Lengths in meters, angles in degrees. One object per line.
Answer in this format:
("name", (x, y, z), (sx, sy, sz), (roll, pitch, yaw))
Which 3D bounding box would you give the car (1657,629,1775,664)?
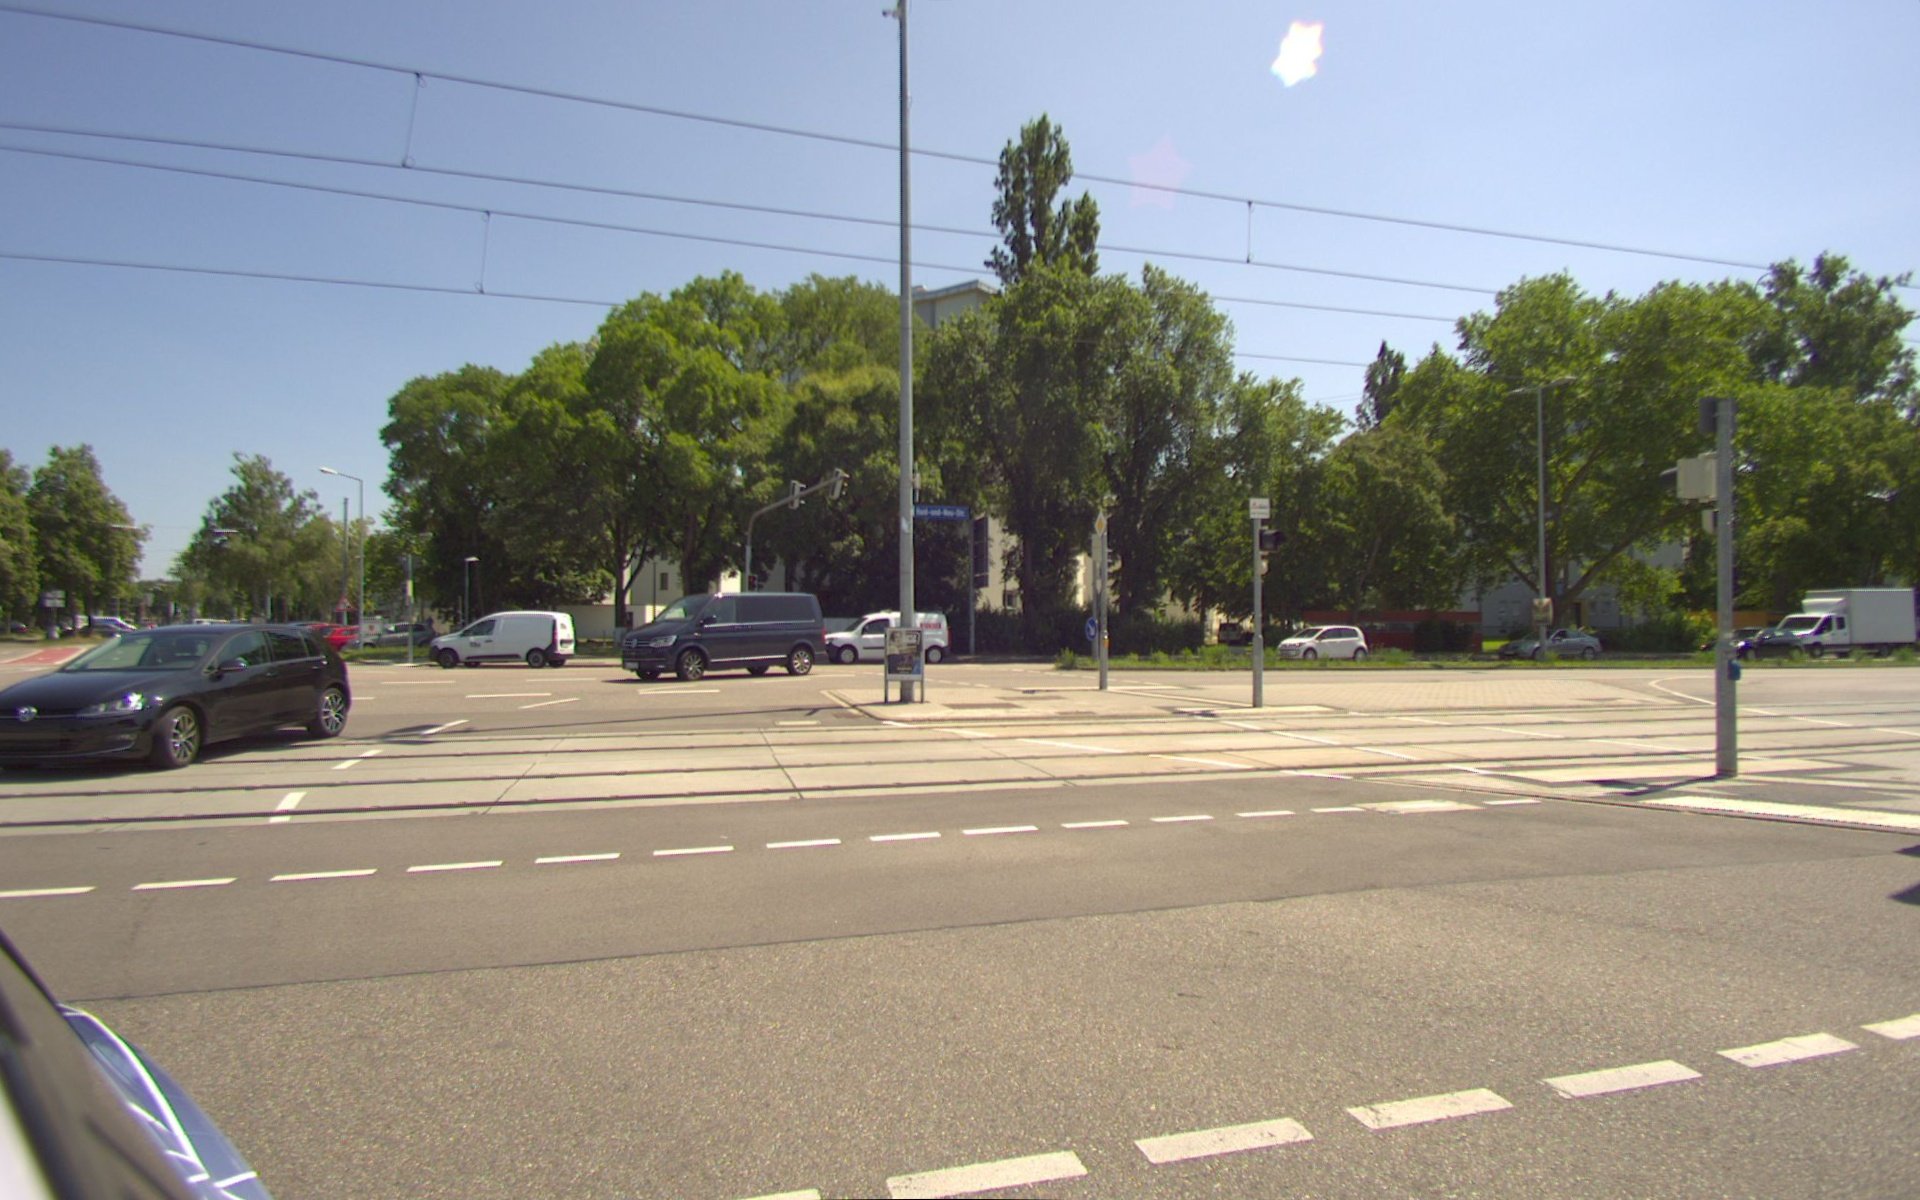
("car", (29.673, 1.825, 39.739), (3.931, 1.296, 1.752), (0, -4, -20))

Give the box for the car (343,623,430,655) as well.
("car", (-28.195, 1.897, 49.766), (3.440, 1.439, 1.586), (0, -3, -44))

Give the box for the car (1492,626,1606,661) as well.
("car", (25.181, 1.837, 43.317), (4.143, 1.436, 1.854), (0, -3, -17))

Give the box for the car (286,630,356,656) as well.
("car", (-39.450, 2.634, 62.504), (3.437, 1.439, 1.587), (0, -3, -41))

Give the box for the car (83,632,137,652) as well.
("car", (-70.952, 3.496, 84.488), (3.437, 1.487, 1.587), (0, -3, -41))

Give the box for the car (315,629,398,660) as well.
("car", (-30.949, 2.291, 51.963), (3.437, 1.439, 1.587), (0, -3, -41))

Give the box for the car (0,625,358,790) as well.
("car", (-8.668, 1.015, 11.121), (1.686, 1.415, 4.053), (0, -1, 0))

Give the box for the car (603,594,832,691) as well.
("car", (-5.363, 0.912, 22.893), (1.943, 1.946, 4.776), (-1, -2, 44))

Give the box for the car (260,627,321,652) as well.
("car", (-47.677, 2.798, 72.055), (3.437, 1.591, 1.587), (0, -3, -41))

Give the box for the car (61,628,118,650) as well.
("car", (-75.183, 3.392, 87.432), (3.715, 1.742, 1.764), (0, -3, -41))

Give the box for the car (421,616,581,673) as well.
("car", (-14.514, 1.415, 32.172), (4.281, 1.731, 1.811), (0, -3, 0))

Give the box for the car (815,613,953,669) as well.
("car", (-2.617, 1.416, 34.508), (4.317, 1.807, 1.902), (0, -4, -19))

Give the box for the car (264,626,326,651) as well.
("car", (-46.302, 2.671, 70.434), (3.437, 1.591, 1.587), (0, -3, -41))

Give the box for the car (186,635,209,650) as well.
("car", (-66.943, 3.734, 88.850), (1.559, 1.236, 3.499), (0, -3, -38))

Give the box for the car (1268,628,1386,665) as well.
("car", (14.660, 1.854, 40.474), (4.142, 1.436, 1.854), (0, -3, -18))

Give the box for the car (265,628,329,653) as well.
("car", (-44.439, 2.723, 67.859), (3.437, 1.566, 1.587), (0, -3, -41))

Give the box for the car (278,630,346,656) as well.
("car", (-41.316, 2.734, 64.561), (3.437, 1.566, 1.587), (0, -3, -41))

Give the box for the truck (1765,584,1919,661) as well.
("truck", (43.205, 1.118, 49.032), (7.580, 3.560, 2.596), (0, -4, -17))

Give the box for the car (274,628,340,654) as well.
("car", (-42.847, 2.661, 66.433), (3.437, 1.566, 1.587), (0, -3, -41))
